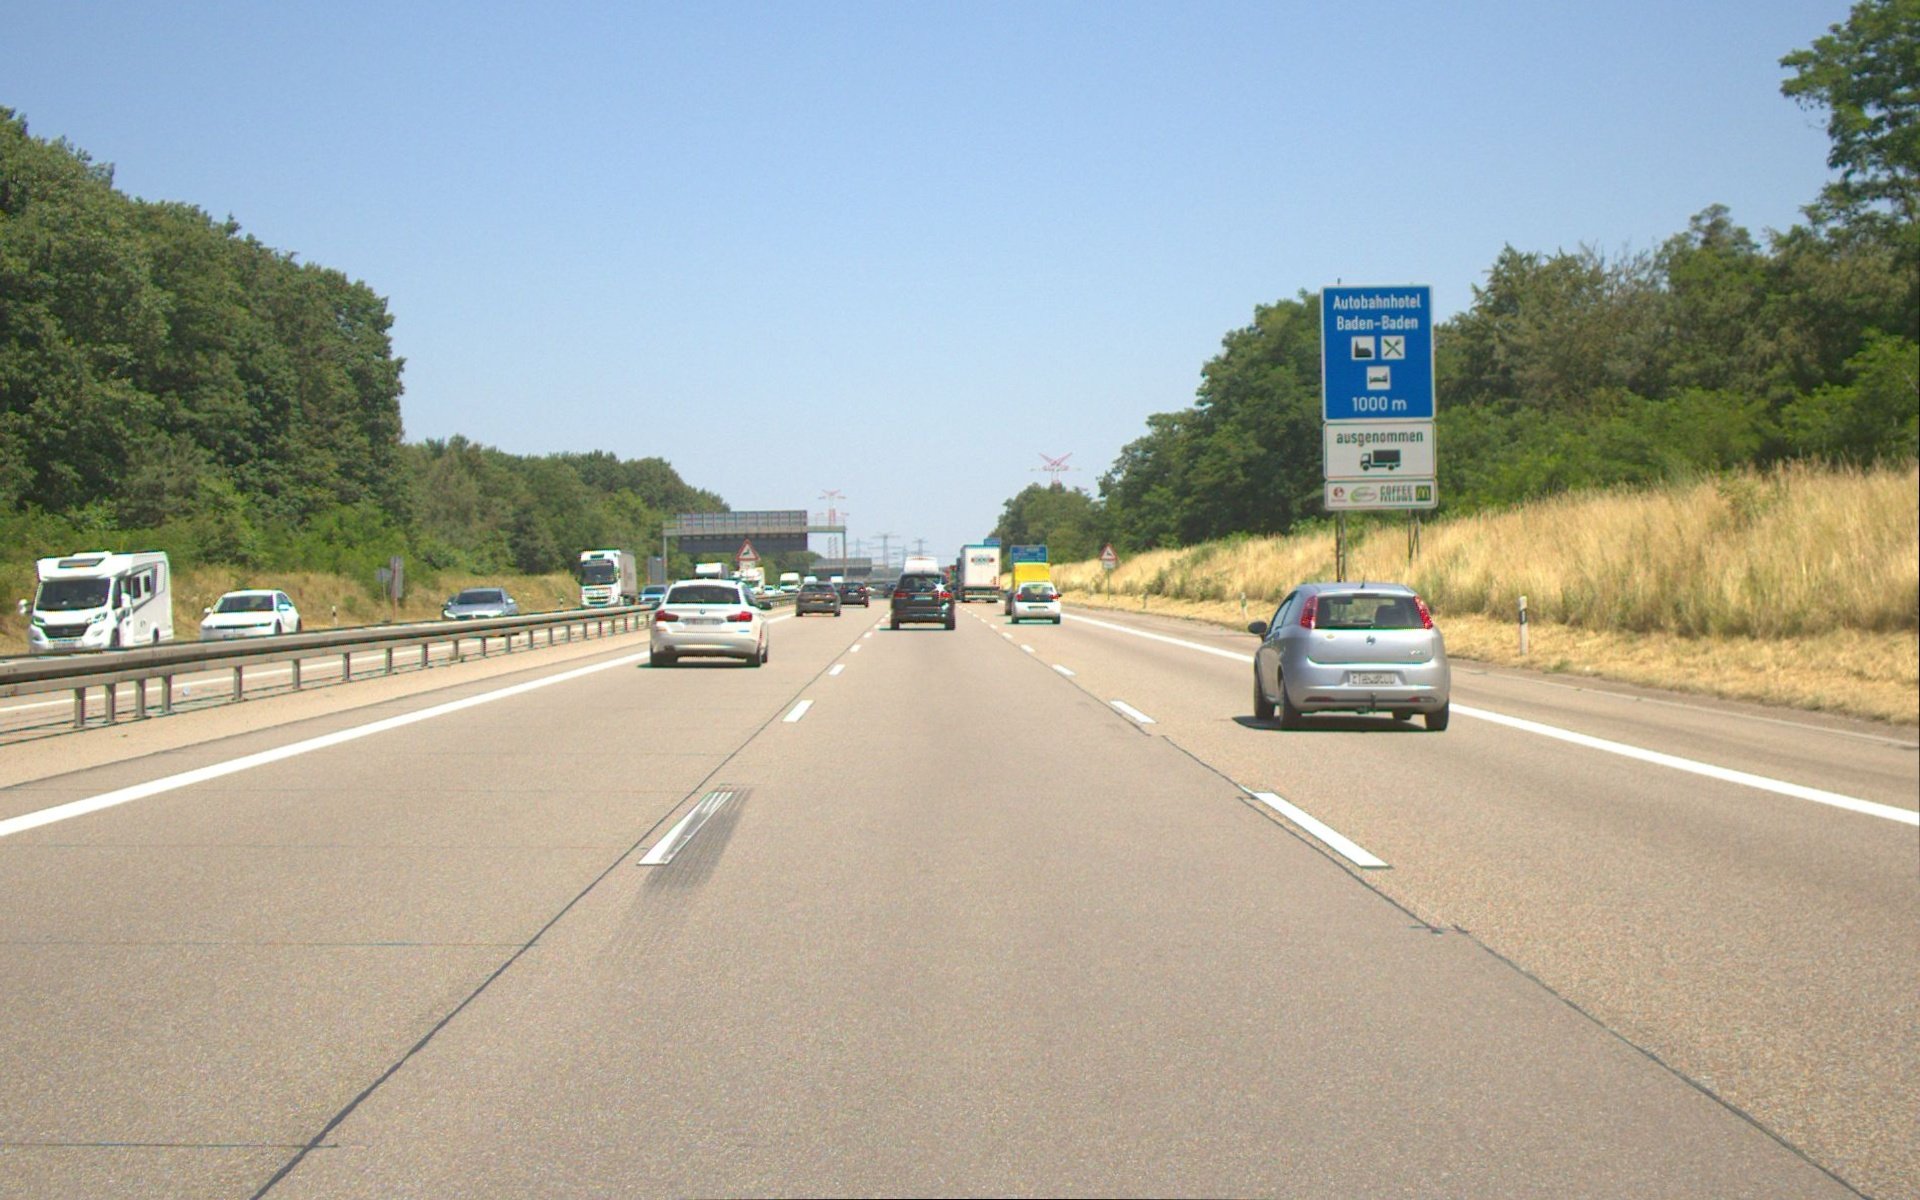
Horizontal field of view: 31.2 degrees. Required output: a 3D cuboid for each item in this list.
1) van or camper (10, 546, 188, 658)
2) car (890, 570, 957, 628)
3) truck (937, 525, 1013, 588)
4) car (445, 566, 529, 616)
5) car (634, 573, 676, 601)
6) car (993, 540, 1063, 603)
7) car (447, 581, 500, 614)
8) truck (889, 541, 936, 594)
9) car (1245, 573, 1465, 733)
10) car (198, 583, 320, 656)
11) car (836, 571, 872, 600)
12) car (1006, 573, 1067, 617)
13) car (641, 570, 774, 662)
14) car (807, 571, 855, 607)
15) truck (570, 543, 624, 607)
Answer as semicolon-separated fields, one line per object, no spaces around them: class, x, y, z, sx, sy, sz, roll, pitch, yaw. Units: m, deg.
van or camper;-21.579;0.016;86.566;2.462;2.566;7.770;-3;0;0
car;-1.111;-0.037;102.817;1.831;1.666;4.000;1;0;-2
truck;1.026;-3.102;246.176;3.991;4.300;9.884;2;0;-7
car;-13.903;-0.273;101.186;1.837;1.368;4.352;-3;0;0
car;-18.024;-0.793;203.295;1.993;1.562;4.528;-3;0;0
car;2.894;-1.198;147.832;2.666;2.625;6.113;0;0;-2
car;-22.433;-0.114;158.600;1.814;1.390;4.111;-3;0;0
truck;-2.642;-1.761;189.305;2.428;2.874;6.206;0;0;-2
car;3.988;0.501;35.241;1.719;1.486;3.737;0;1;-1
car;-17.718;0.472;87.106;1.993;1.688;5.245;-3;0;0
car;-5.935;-0.822;193.344;1.875;1.575;3.928;0;1;0
car;2.655;-0.164;119.397;1.821;1.486;3.737;0;0;-3
car;-4.292;0.244;59.233;1.963;1.498;5.405;0;0;-1
car;-5.308;-0.481;141.938;1.832;1.427;5.000;0;1;-1
truck;-23.937;-1.654;227.124;2.904;4.053;5.654;-3;0;-1
